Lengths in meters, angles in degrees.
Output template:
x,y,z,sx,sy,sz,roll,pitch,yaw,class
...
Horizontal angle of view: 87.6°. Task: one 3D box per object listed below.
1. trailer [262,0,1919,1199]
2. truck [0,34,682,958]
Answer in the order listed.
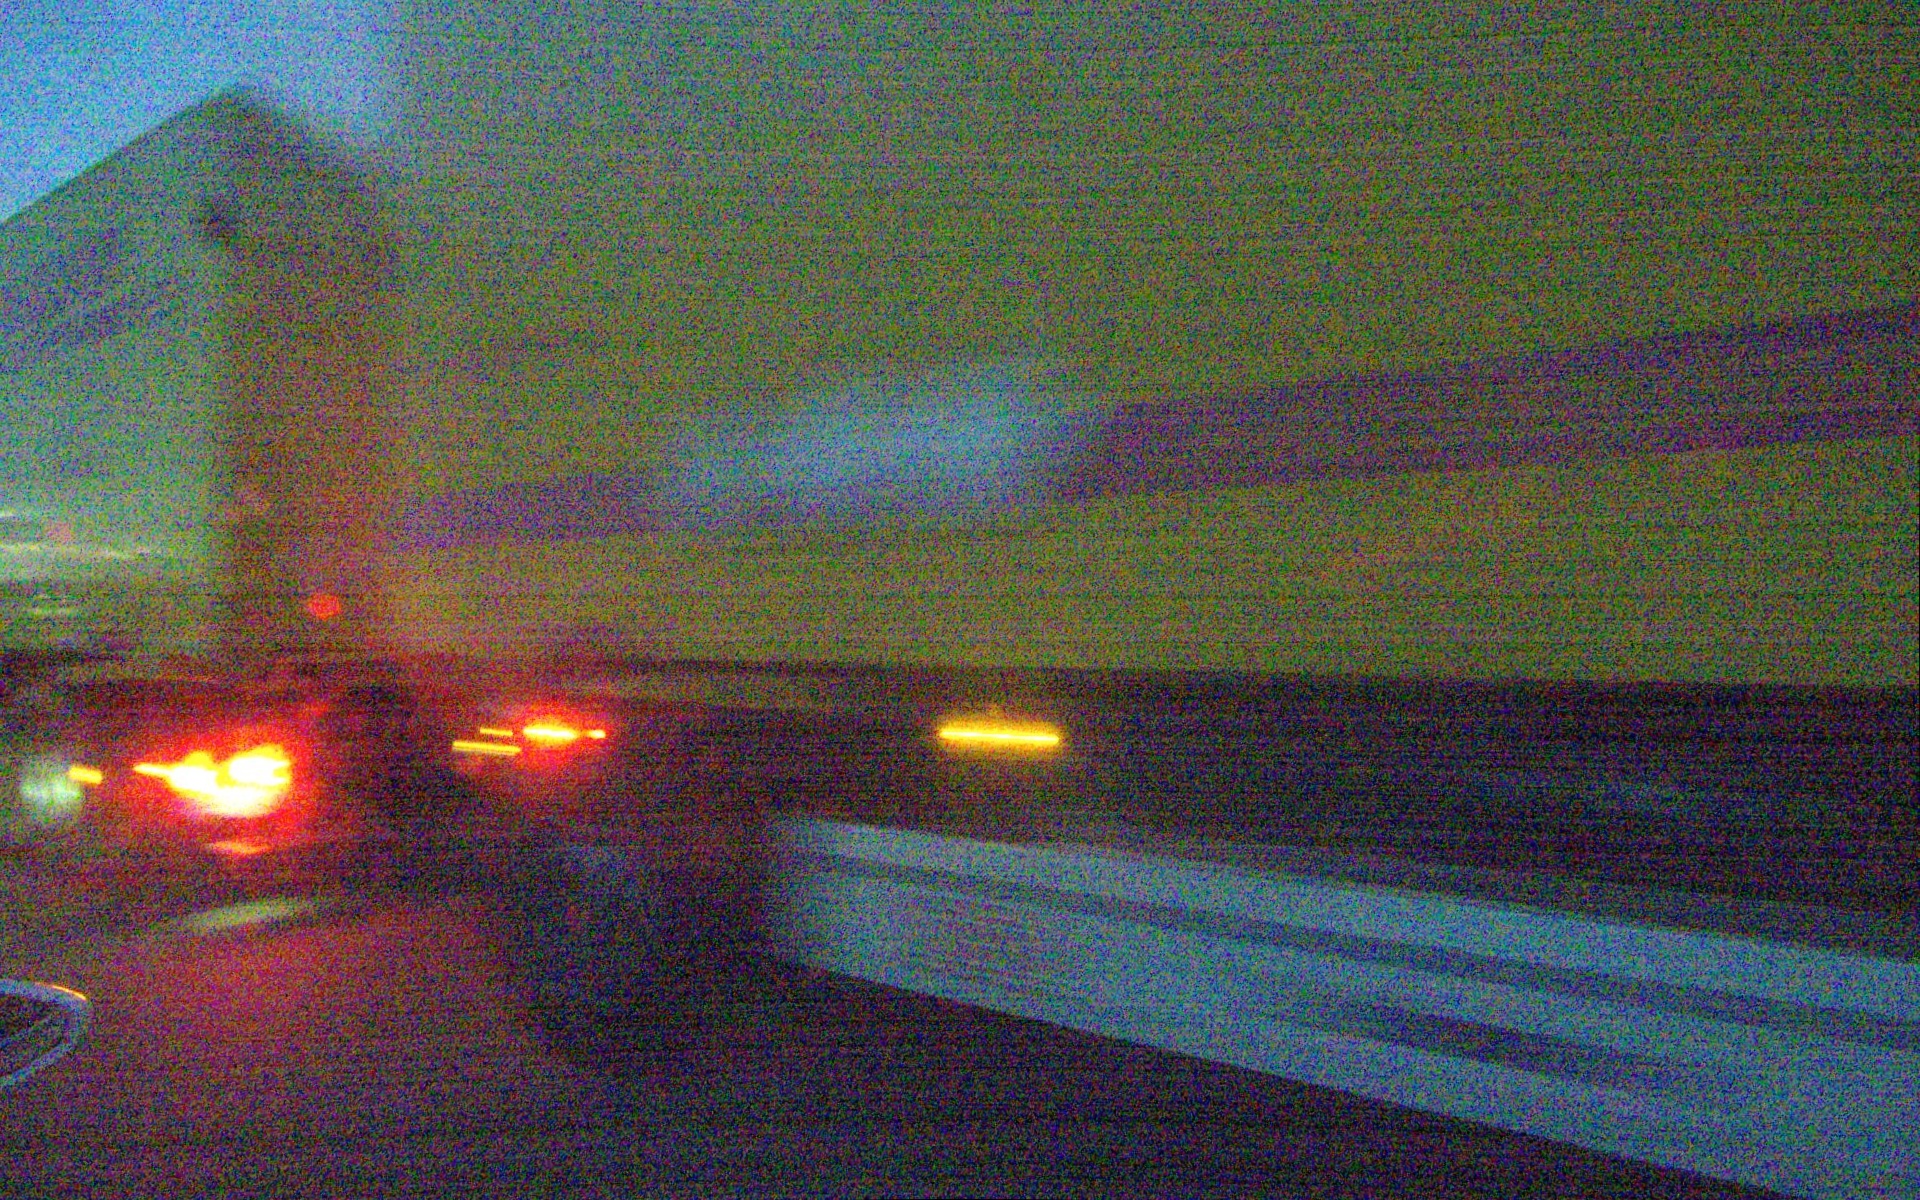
x,y,z,sx,sy,sz,roll,pitch,yaw,class
1.465,-0.500,3.026,8.704,4.124,2.717,-1,-1,32,trailer
-6.969,-0.378,8.376,10.368,4.124,2.686,-1,-1,32,truck
